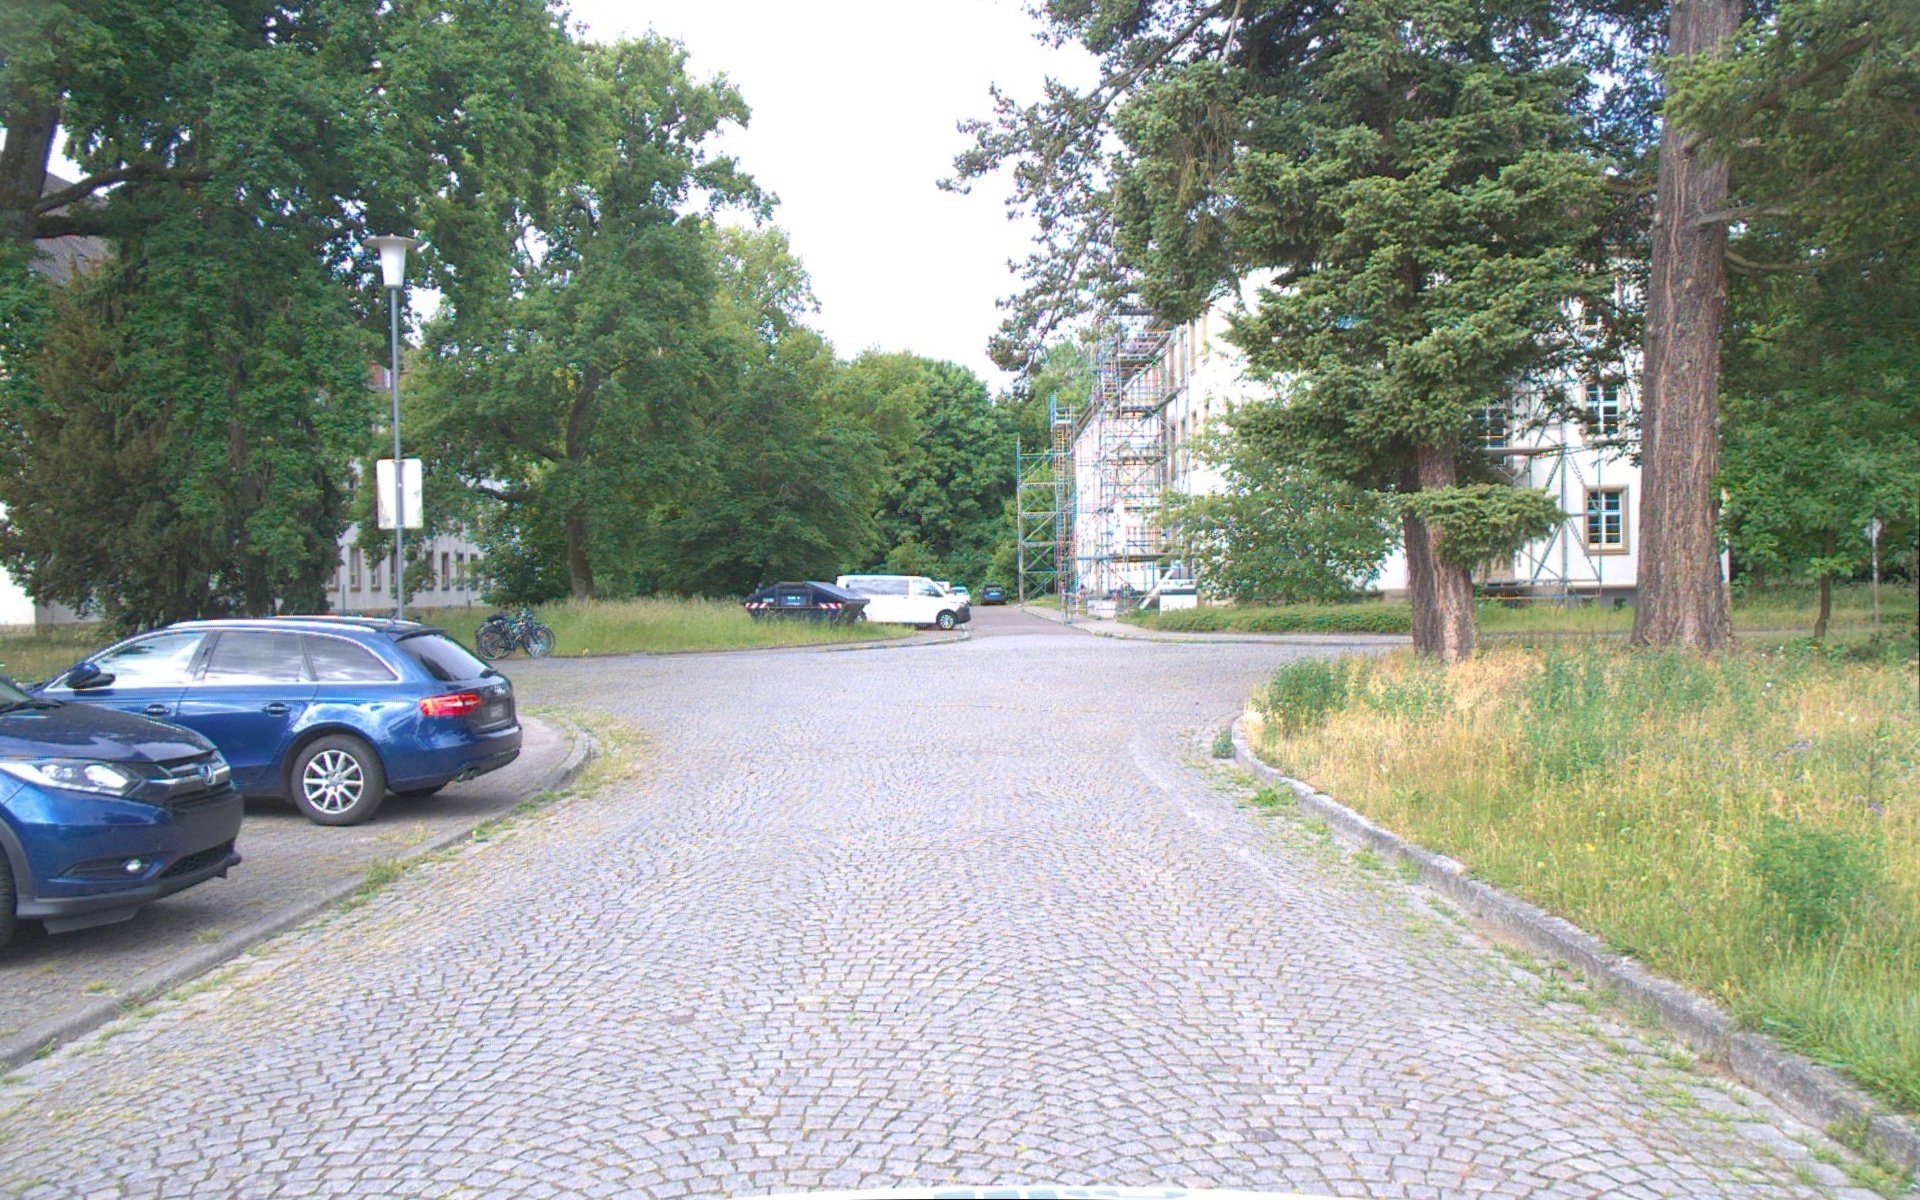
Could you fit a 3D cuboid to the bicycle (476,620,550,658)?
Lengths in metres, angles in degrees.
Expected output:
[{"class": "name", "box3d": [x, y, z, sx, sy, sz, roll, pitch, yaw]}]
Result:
[{"class": "bicycle", "box3d": [-12.732, 1.096, 47.117, 1.931, 1.007, 0.622, -2, 0, -24]}]

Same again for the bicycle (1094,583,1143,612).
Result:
[{"class": "bicycle", "box3d": [7.306, -0.125, 76.484, 2.194, 1.276, 0.778, -1, 0, 2]}]

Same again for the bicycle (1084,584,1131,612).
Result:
[{"class": "bicycle", "box3d": [7.028, -0.111, 78.826, 2.194, 1.276, 0.778, -1, 0, 2]}]

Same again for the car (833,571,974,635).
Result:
[{"class": "car", "box3d": [-2.105, 0.101, 61.501, 5.130, 2.206, 1.999, -1, 0, -3]}]

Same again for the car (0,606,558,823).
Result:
[{"class": "car", "box3d": [-5.441, 0.813, 12.642, 4.214, 1.486, 1.975, 0, 1, 1]}]

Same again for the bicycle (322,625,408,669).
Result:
[{"class": "bicycle", "box3d": [-14.843, 1.152, 41.258, 1.935, 1.007, 0.621, -2, 0, -27]}]

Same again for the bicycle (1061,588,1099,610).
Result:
[{"class": "bicycle", "box3d": [7.219, -0.074, 99.537, 2.194, 1.276, 0.698, -1, 0, 2]}]

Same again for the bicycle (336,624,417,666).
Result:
[{"class": "bicycle", "box3d": [-15.314, 1.171, 43.451, 1.935, 1.007, 0.621, -2, 0, -27]}]

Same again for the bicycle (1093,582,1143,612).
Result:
[{"class": "bicycle", "box3d": [7.113, -0.123, 74.570, 2.194, 1.276, 0.778, -1, 0, 2]}]

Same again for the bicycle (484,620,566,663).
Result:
[{"class": "bicycle", "box3d": [-10.951, 1.029, 41.660, 1.931, 1.007, 0.622, -2, 0, -24]}]

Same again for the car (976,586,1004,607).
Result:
[{"class": "car", "box3d": [2.311, -0.268, 127.845, 1.912, 1.548, 3.999, -1, 0, -2]}]

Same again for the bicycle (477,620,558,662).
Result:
[{"class": "bicycle", "box3d": [-11.406, 1.046, 42.627, 1.931, 1.007, 0.622, -2, 0, -24]}]

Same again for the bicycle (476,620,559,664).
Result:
[{"class": "bicycle", "box3d": [-10.972, 1.029, 41.036, 1.930, 1.007, 0.623, -2, 0, -21]}]

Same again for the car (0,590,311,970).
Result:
[{"class": "car", "box3d": [-5.564, 0.772, 7.931, 4.143, 1.604, 1.886, 0, 1, -2]}]

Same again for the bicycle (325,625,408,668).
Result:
[{"class": "bicycle", "box3d": [-14.974, 1.157, 41.746, 1.931, 1.007, 0.622, -2, 0, -23]}]

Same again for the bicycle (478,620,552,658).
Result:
[{"class": "bicycle", "box3d": [-12.532, 1.089, 46.550, 1.931, 1.007, 0.622, -2, 0, -24]}]

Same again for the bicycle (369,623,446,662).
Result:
[{"class": "bicycle", "box3d": [-15.282, 1.175, 45.807, 1.923, 1.007, 0.625, -2, 0, -11]}]

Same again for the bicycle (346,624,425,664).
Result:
[{"class": "bicycle", "box3d": [-15.552, 1.182, 44.796, 1.923, 1.007, 0.625, -2, 0, -11]}]

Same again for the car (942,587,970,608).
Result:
[{"class": "car", "box3d": [-0.310, -0.186, 127.518, 2.076, 1.548, 3.999, -1, 0, -2]}]

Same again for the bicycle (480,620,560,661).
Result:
[{"class": "bicycle", "box3d": [-11.508, 1.050, 43.251, 1.931, 1.007, 0.622, -2, 0, -24]}]

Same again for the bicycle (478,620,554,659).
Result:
[{"class": "bicycle", "box3d": [-12.191, 1.076, 45.428, 1.931, 1.007, 0.622, -2, 0, -24]}]

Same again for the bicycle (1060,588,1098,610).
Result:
[{"class": "bicycle", "box3d": [7.219, -0.072, 100.381, 2.194, 1.276, 0.634, -1, 0, 2]}]

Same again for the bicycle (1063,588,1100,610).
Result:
[{"class": "bicycle", "box3d": [7.211, -0.075, 98.229, 2.194, 1.276, 0.627, -1, 0, 2]}]

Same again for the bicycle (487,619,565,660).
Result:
[{"class": "bicycle", "box3d": [-11.567, 1.054, 44.127, 1.931, 1.007, 0.622, -2, 0, -24]}]

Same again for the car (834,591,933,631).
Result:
[{"class": "car", "box3d": [-2.962, 0.424, 64.085, 3.713, 1.419, 1.999, -1, 0, -3]}]

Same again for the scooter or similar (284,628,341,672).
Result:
[{"class": "scooter or similar", "box3d": [-15.826, 1.223, 40.402, 1.321, 1.056, 0.453, -1, 0, 21]}]

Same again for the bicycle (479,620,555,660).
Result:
[{"class": "bicycle", "box3d": [-12.011, 1.069, 44.848, 1.931, 1.007, 0.622, -2, 0, -24]}]
